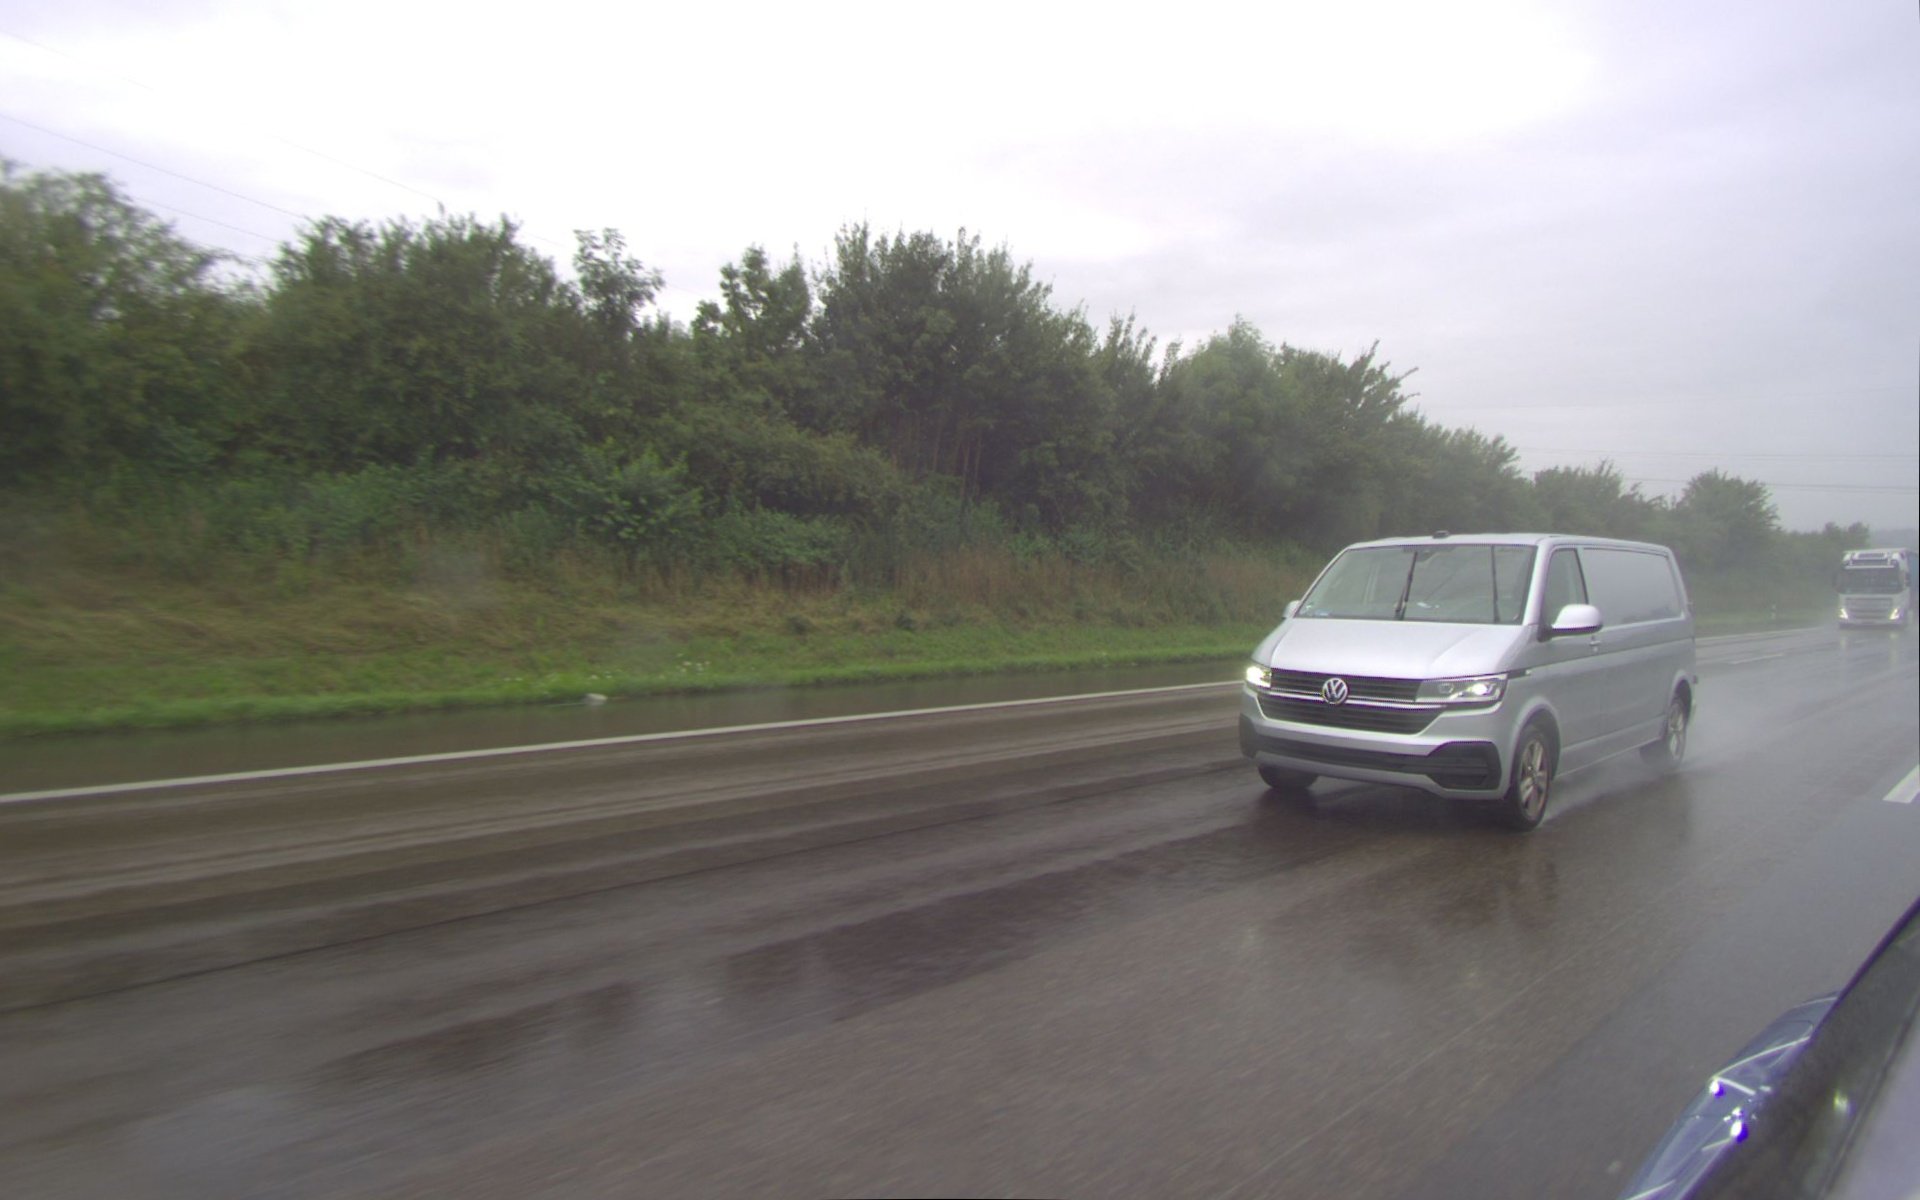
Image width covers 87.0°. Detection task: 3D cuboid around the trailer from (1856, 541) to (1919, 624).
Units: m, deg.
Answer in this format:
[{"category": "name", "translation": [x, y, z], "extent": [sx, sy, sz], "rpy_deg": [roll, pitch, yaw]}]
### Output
[{"category": "trailer", "translation": [52.345, -0.895, 55.833], "extent": [13.550, 4.139, 2.617], "rpy_deg": [0, 1, -41]}]

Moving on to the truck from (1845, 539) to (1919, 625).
[{"category": "truck", "translation": [46.892, -0.889, 51.087], "extent": [5.147, 4.139, 2.617], "rpy_deg": [0, 1, -41]}]

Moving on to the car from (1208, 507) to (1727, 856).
[{"category": "car", "translation": [4.182, 0.421, 7.878], "extent": [4.922, 1.907, 1.890], "rpy_deg": [0, 1, -41]}]
